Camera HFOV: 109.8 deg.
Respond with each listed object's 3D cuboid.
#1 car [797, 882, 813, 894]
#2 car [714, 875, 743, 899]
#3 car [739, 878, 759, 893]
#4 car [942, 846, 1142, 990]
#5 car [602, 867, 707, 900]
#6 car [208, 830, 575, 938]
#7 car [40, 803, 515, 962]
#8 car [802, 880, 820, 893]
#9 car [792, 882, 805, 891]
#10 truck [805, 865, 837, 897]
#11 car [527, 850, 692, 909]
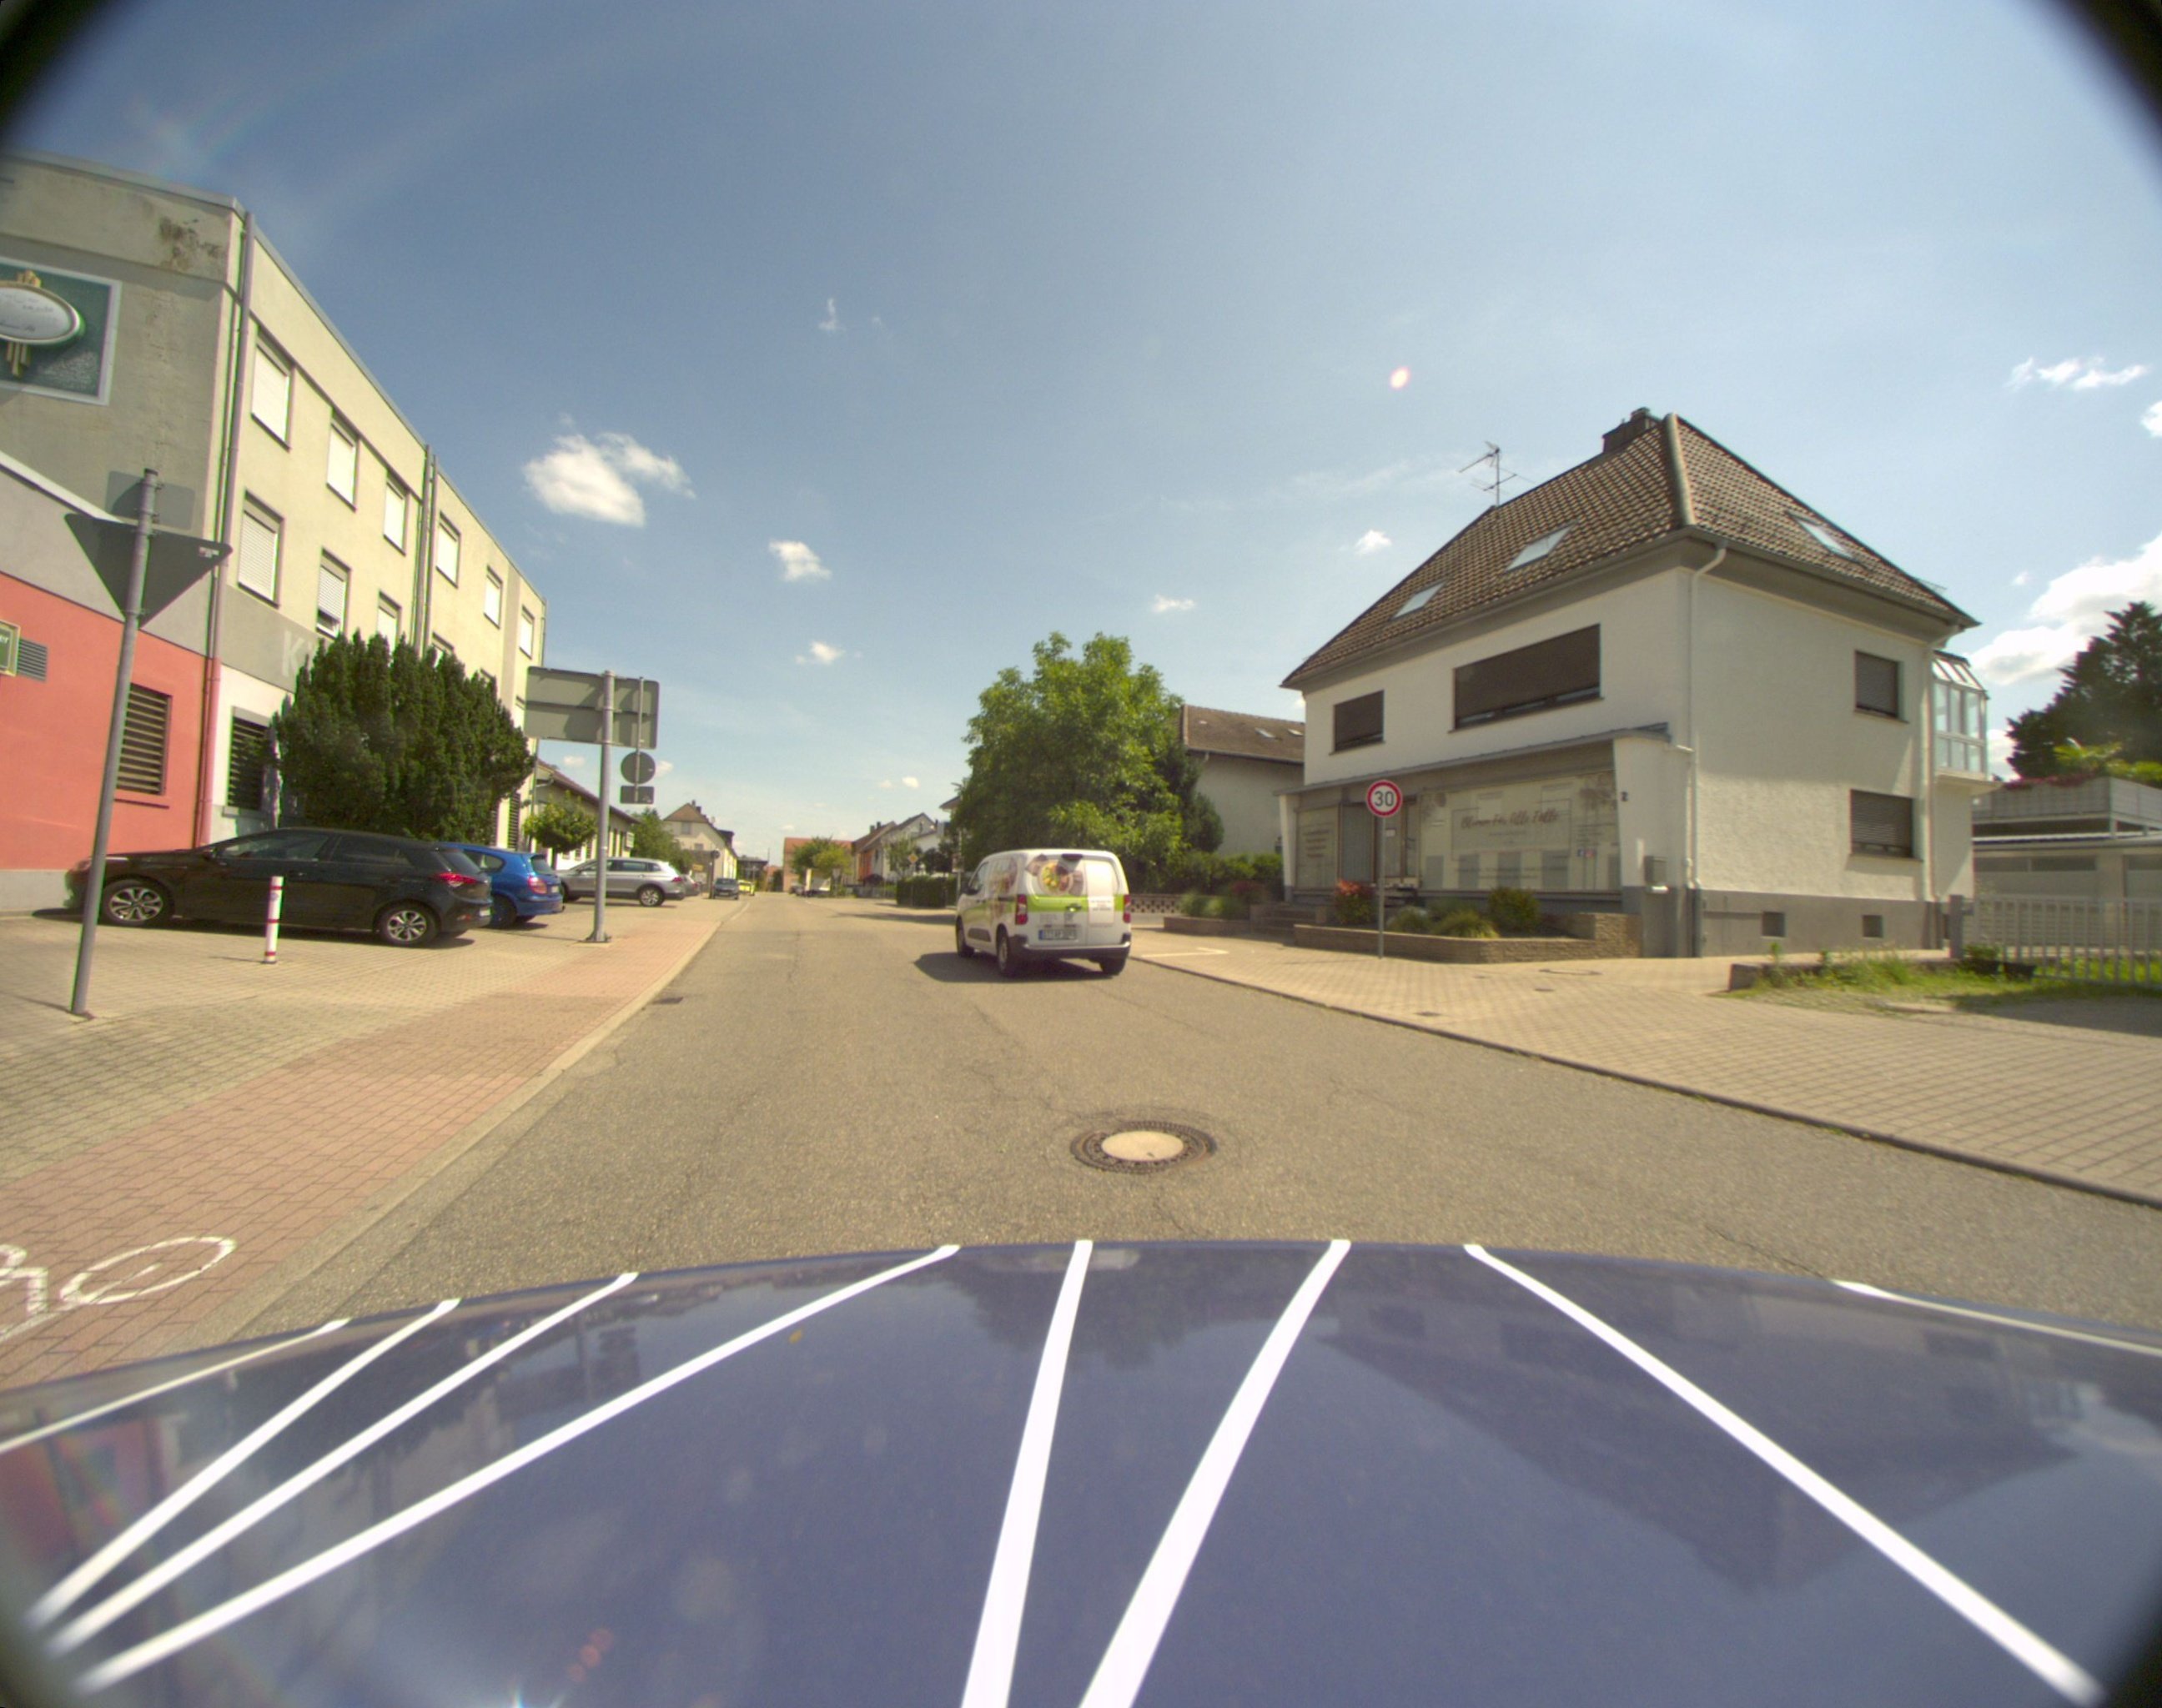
[{"bbox_3d":[-38.021,4.674,104.621,1.724,1.490,4.208,5,-4,-23],"label":"car"},{"bbox_3d":[-23.796,2.217,51.429,1.635,1.479,4.132,3,-3,-24],"label":"car"},{"bbox_3d":[-34.543,3.254,79.123,1.724,1.389,4.208,7,-5,-22],"label":"car"},{"bbox_3d":[-0.855,0.954,12.237,1.820,1.843,4.553,3,-3,-21],"label":"car"},{"bbox_3d":[-22.442,1.594,40.219,4.548,1.445,1.915,5,-4,-22],"label":"car"},{"bbox_3d":[-11.769,0.551,13.419,4.343,1.431,1.776,6,-2,-23],"label":"car"},{"bbox_3d":[-10.491,0.443,10.419,3.915,1.480,1.806,10,-4,-24],"label":"car"},{"bbox_3d":[-35.257,4.260,99.168,1.724,1.490,4.208,5,-4,-23],"label":"car"},{"bbox_3d":[-49.511,5.695,133.027,1.724,1.490,4.208,5,-4,-23],"label":"car"},{"bbox_3d":[-29.584,3.080,86.342,2.450,3.225,7.024,7,-5,-25],"label":"truck"},{"bbox_3d":[-16.019,0.923,26.135,4.475,1.686,1.919,5,-4,-24],"label":"car"}]
